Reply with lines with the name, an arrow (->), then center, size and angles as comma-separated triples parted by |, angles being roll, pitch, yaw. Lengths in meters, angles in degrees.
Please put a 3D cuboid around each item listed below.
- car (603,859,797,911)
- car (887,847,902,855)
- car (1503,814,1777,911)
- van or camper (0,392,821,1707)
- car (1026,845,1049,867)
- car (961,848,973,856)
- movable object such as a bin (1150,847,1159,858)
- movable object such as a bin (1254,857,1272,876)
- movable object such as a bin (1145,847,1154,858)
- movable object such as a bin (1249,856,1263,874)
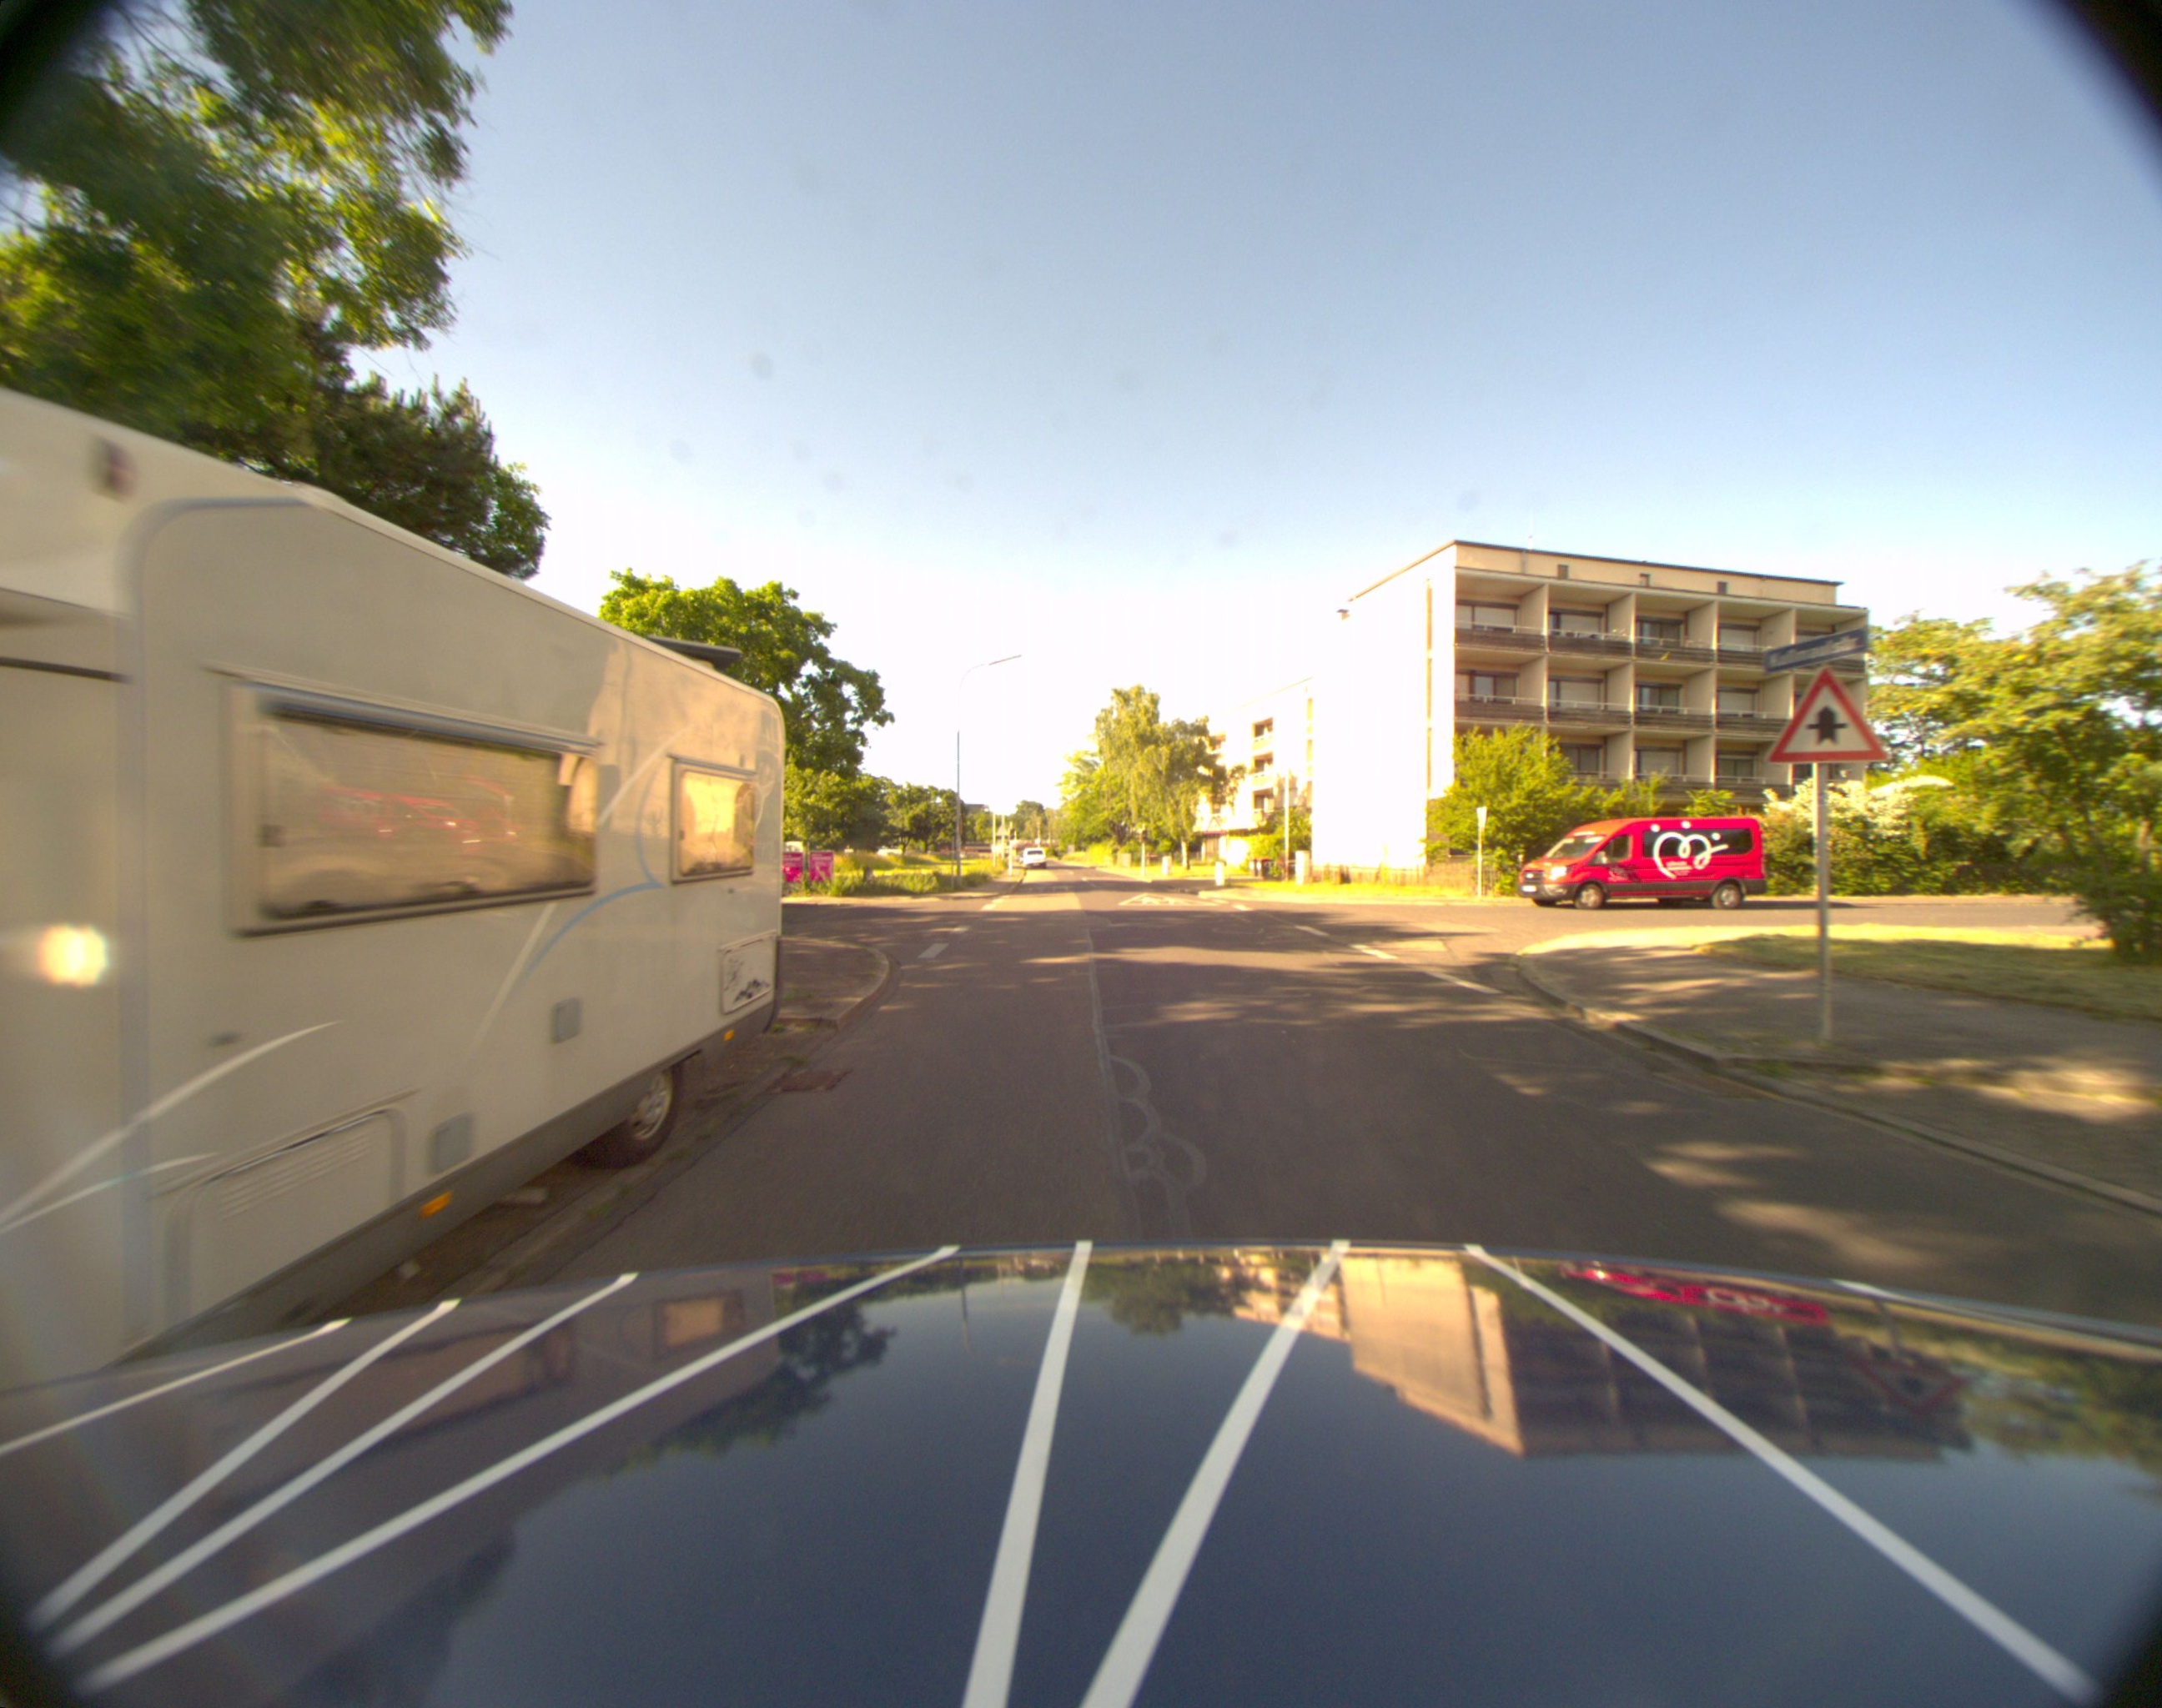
car -> -10.307, 0.835, 20.740 | 4.435, 1.329, 1.746 | -1, -1, 3
car -> -43.300, -0.638, 176.498 | 1.954, 1.763, 4.001 | 1, 2, 8
car -> 15.083, 0.239, 20.734 | 5.921, 2.414, 2.213 | 1, -1, -2
van or camper -> -3.168, 0.392, 2.403 | 2.357, 2.581, 6.425 | 3, 1, 0
car -> -3.889, 0.169, 67.382 | 1.921, 1.861, 4.862 | -1, 1, -5
car -> -25.950, -0.429, 173.521 | 1.955, 1.849, 4.000 | 1, 0, 2
movable object such as a bin -> 6.888, -0.108, 70.981 | 0.623, 1.018, 0.710 | 1, 1, -9
movable object such as a bin -> 10.168, 0.668, 42.449 | 0.629, 1.042, 0.701 | 0, 1, -25
movable object such as a bin -> 6.379, -0.123, 70.880 | 0.623, 1.018, 0.710 | 1, 1, -9
movable object such as a bin -> 9.919, 0.621, 43.040 | 0.565, 1.047, 0.556 | 0, 1, -24
